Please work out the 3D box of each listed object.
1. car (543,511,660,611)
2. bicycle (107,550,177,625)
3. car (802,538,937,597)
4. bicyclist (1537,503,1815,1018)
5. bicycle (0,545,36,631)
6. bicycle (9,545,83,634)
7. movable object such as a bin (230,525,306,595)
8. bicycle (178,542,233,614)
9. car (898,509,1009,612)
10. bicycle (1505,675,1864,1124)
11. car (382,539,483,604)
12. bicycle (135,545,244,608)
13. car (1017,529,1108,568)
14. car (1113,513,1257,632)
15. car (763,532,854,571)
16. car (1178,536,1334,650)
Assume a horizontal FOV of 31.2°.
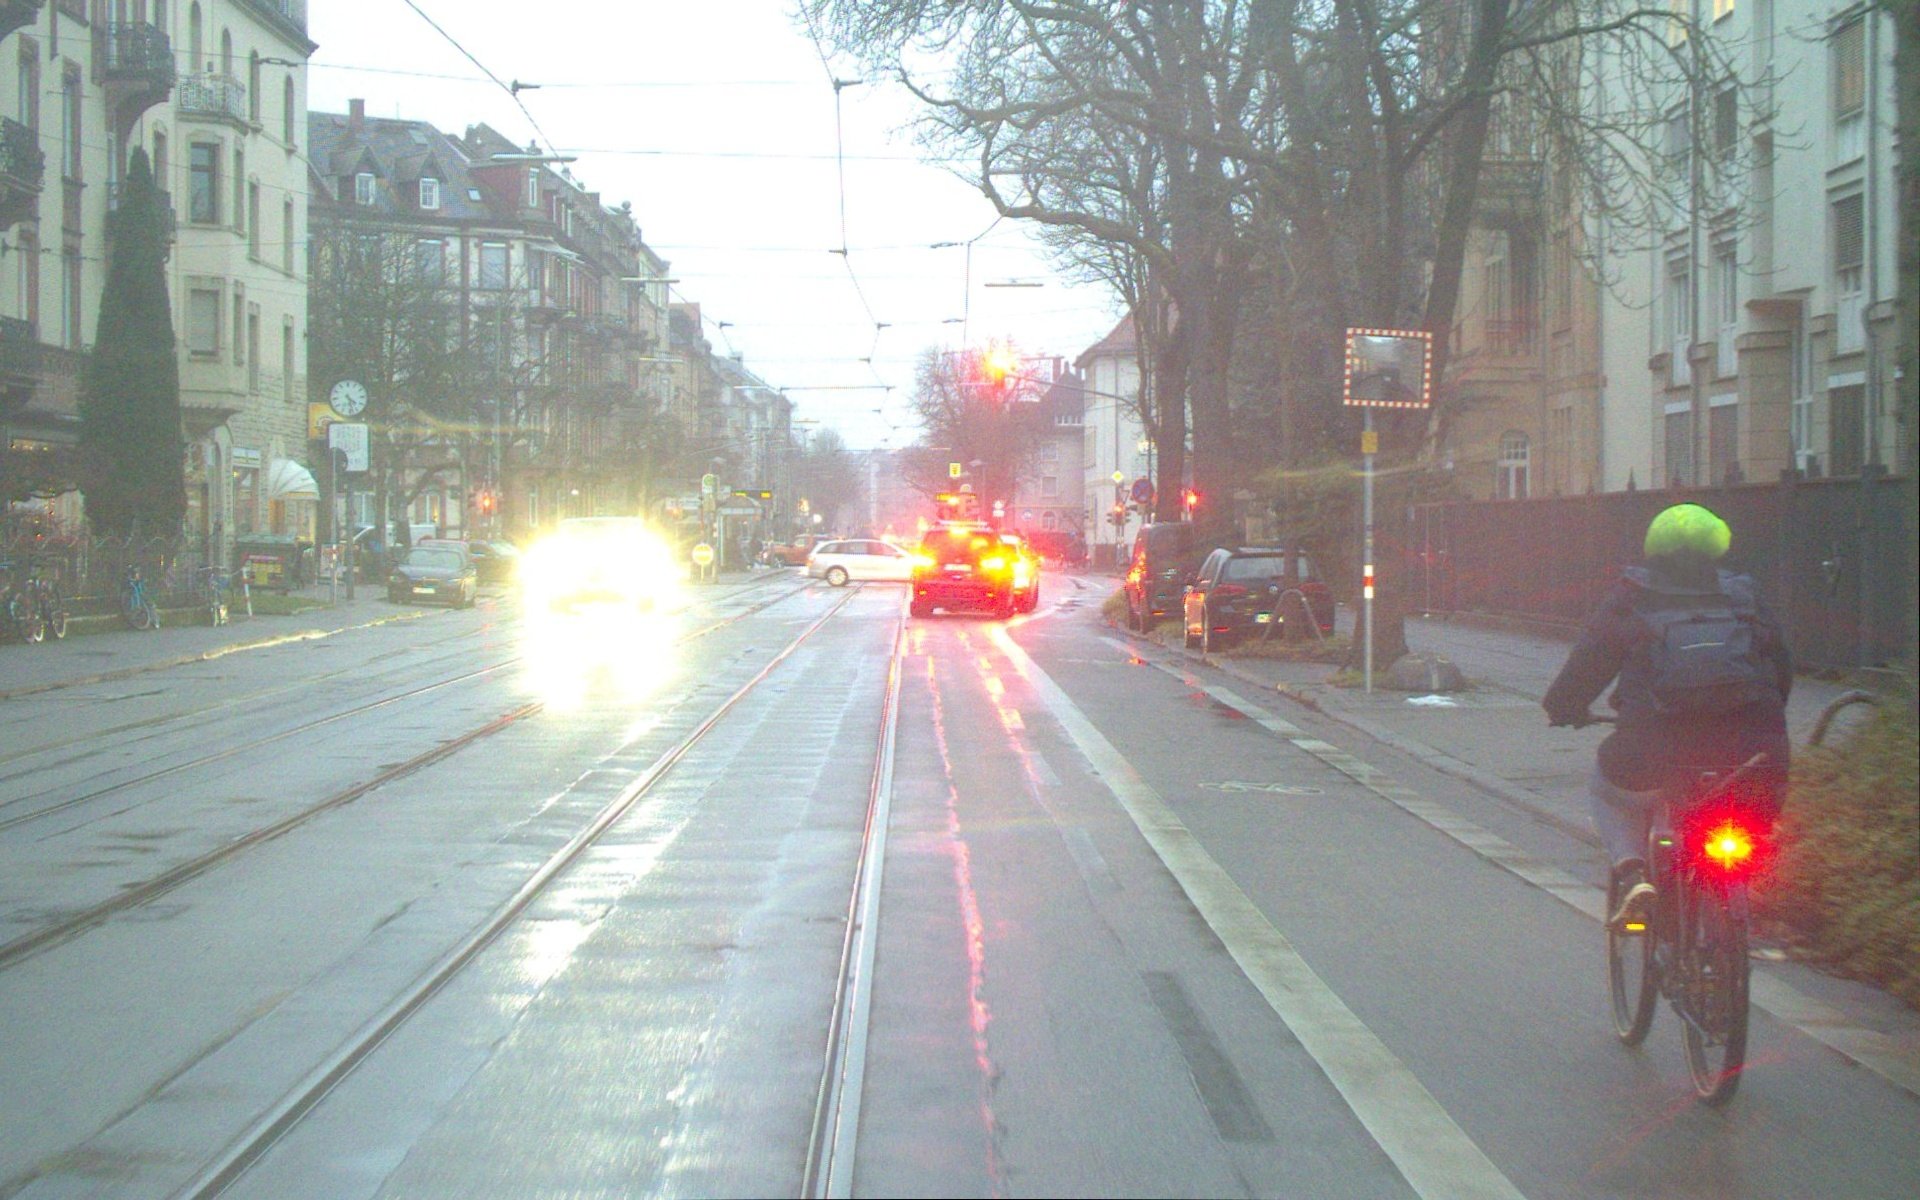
[{"bbox_3d":[-7.299,-0.841,70.485,2.046,1.915,5.101,0,2,-2],"label":"car"},{"bbox_3d":[-11.737,-0.192,49.377,0.625,1.014,1.806,-1,2,-2],"label":"bicycle"},{"bbox_3d":[-2.723,-0.983,103.976,3.987,1.722,1.740,0,2,1],"label":"car"},{"bbox_3d":[2.083,0.441,10.077,0.656,1.441,0.849,0,2,2],"label":"bicyclist"},{"bbox_3d":[-11.703,-0.144,41.923,0.692,1.027,1.597,-1,1,-10],"label":"bicycle"},{"bbox_3d":[-11.776,-0.146,44.319,0.486,1.096,1.931,-1,1,-2],"label":"bicycle"},{"bbox_3d":[-15.319,-0.890,76.110,1.409,1.525,1.365,0,2,-1],"label":"movable object such as a bin"},{"bbox_3d":[-11.907,-0.360,54.316,0.614,1.077,1.811,-1,2,-5],"label":"bicycle"},{"bbox_3d":[-0.168,-0.744,66.468,1.993,1.890,4.759,1,0,-2],"label":"car"},{"bbox_3d":[2.102,0.826,10.225,0.707,1.093,2.029,0,2,2],"label":"bicycle"},{"bbox_3d":[-12.540,-0.691,81.925,1.833,1.442,4.001,0,2,-1],"label":"car"},{"bbox_3d":[-13.598,-0.417,60.712,1.804,1.077,0.616,-1,2,-7],"label":"bicycle"},{"bbox_3d":[4.594,-2.303,153.460,3.987,1.711,1.903,0,2,4],"label":"car"},{"bbox_3d":[3.807,-0.514,58.872,1.993,1.894,5.028,0,2,-2],"label":"car"},{"bbox_3d":[-6.740,-2.172,153.620,3.987,1.711,1.904,0,2,0],"label":"car"},{"bbox_3d":[4.019,-0.125,47.155,1.677,1.455,4.043,0,1,-2],"label":"car"}]
